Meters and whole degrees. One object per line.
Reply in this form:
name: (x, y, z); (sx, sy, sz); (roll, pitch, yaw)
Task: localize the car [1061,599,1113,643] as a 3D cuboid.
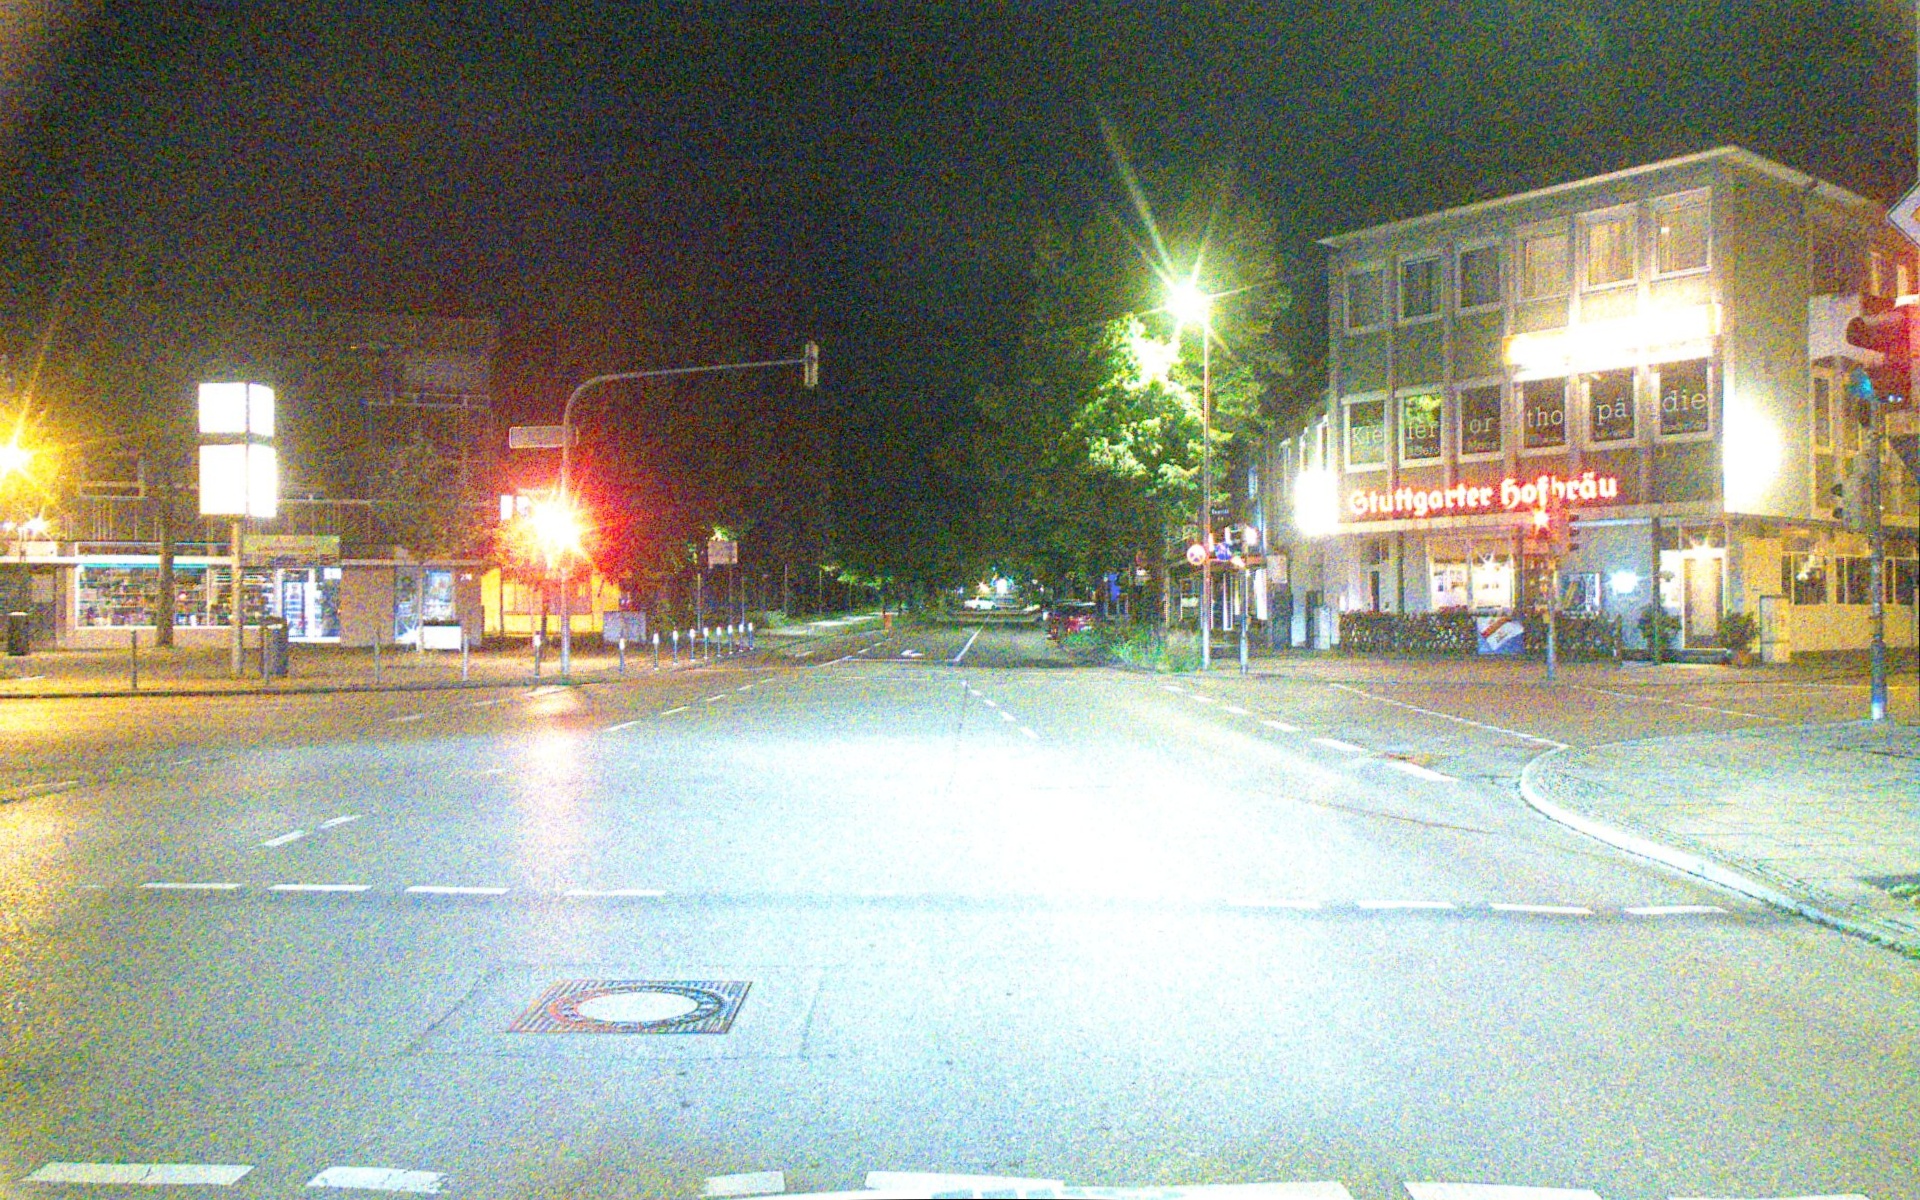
car: (4.883, 0.788, 63.917); (1.837, 1.643, 4.001); (0, 0, 2)

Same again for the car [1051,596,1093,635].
car: (5.155, 0.709, 76.533); (1.837, 1.759, 4.001); (0, 0, 2)

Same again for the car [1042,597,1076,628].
car: (5.653, 0.726, 94.627); (1.837, 1.713, 4.001); (0, 0, 2)

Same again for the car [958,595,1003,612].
car: (1.997, 0.352, 160.515); (2.197, 1.680, 3.972); (0, 0, 44)

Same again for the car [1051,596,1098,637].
car: (4.730, 0.680, 68.857); (1.837, 1.643, 4.001); (0, 0, 2)
